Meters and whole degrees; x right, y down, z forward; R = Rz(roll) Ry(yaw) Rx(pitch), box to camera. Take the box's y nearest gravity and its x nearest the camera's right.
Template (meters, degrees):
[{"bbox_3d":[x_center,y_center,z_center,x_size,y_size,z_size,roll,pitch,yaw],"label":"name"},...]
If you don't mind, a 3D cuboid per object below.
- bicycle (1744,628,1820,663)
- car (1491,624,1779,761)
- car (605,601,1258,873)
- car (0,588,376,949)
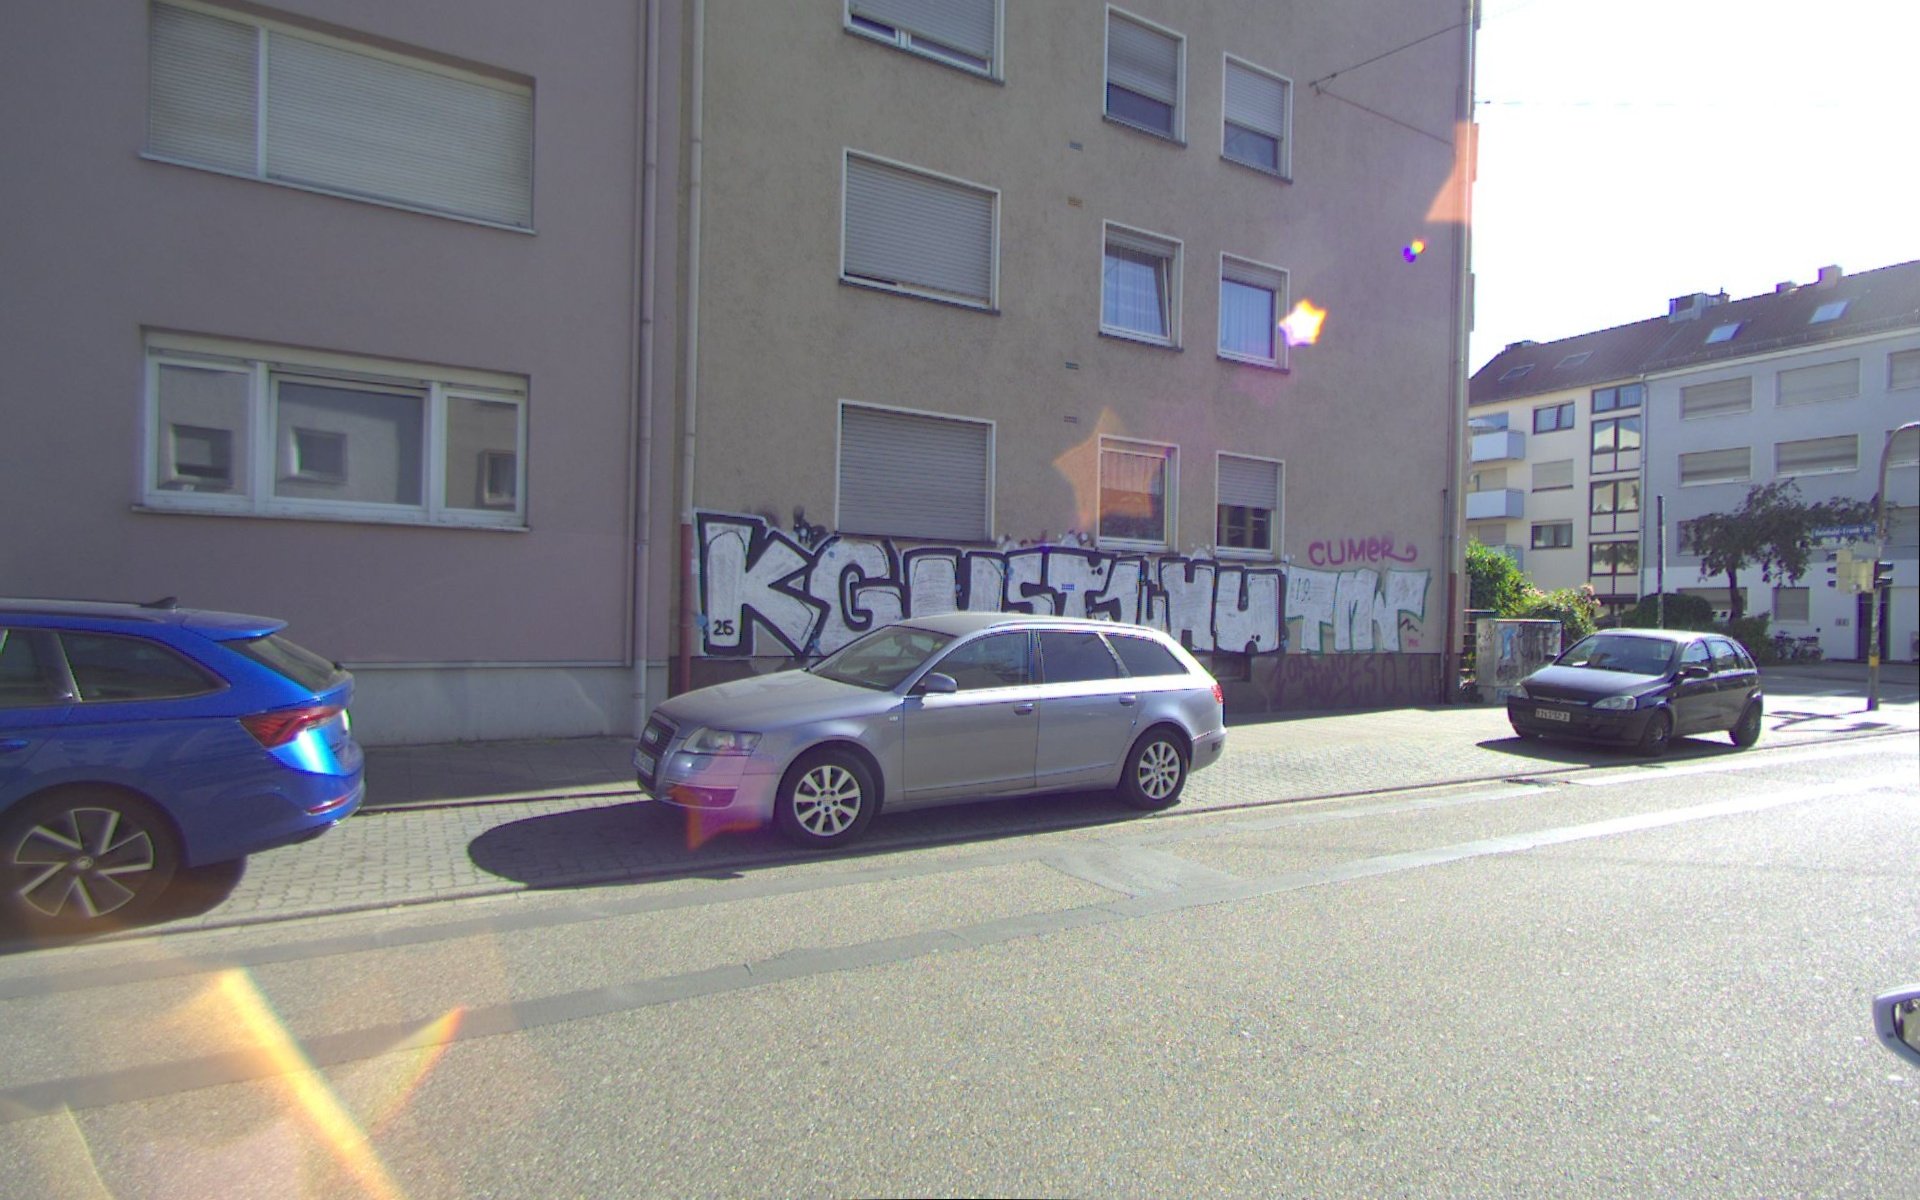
[{"bbox_3d":[29.665,1.640,36.283,2.068,1.188,0.738,0,-1,37],"label":"bicycle"},{"bbox_3d":[8.627,1.077,12.786,3.667,1.444,1.608,1,1,-31],"label":"car"},{"bbox_3d":[-0.074,0.839,7.716,4.759,1.485,1.708,1,2,-31],"label":"car"},{"bbox_3d":[-5.338,0.709,4.598,4.558,1.485,1.709,1,2,-30],"label":"car"}]
